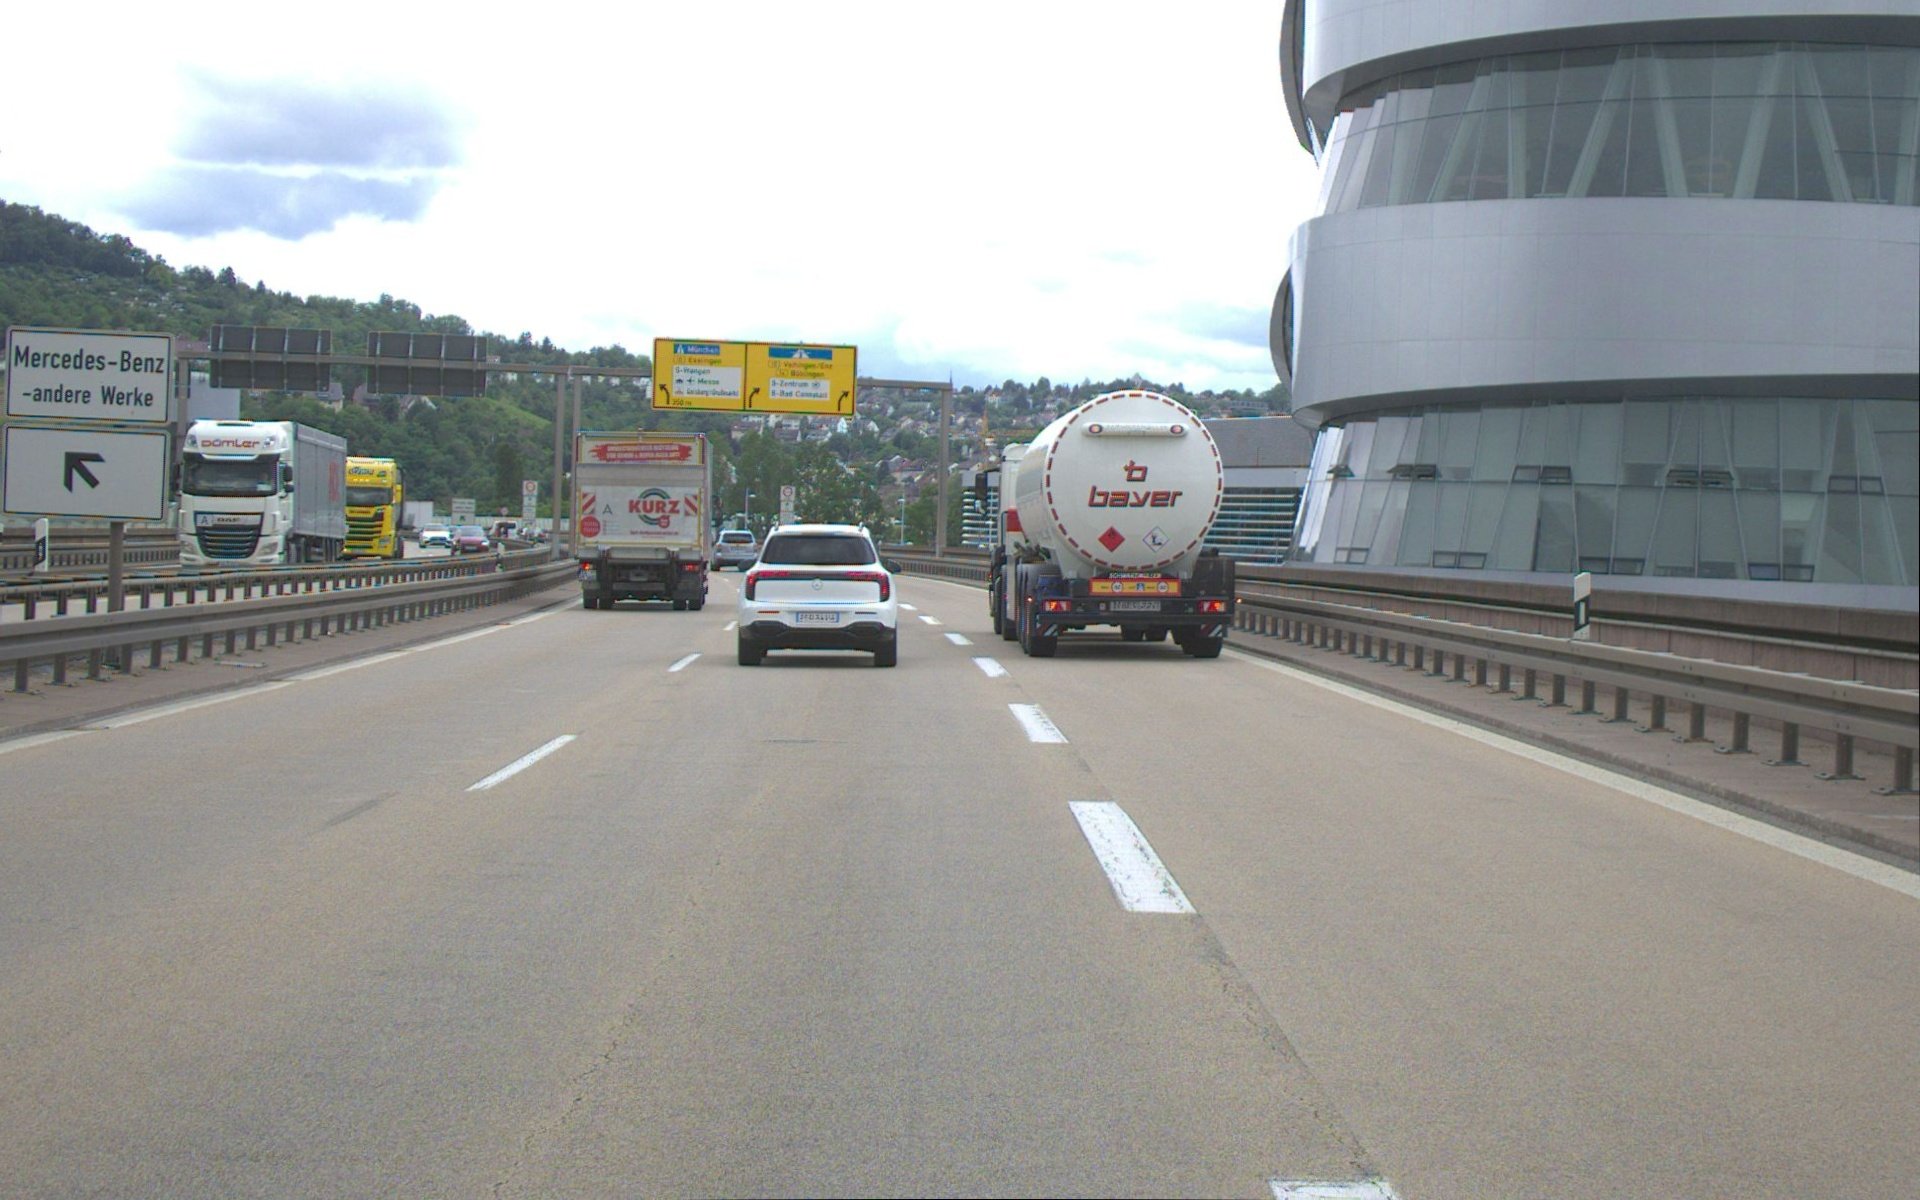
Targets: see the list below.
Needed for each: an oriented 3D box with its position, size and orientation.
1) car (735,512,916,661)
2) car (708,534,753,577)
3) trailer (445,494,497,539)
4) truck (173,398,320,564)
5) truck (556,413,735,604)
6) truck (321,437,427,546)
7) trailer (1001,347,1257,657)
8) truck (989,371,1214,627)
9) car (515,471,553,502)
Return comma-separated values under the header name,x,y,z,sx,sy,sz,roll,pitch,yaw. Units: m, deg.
name,x,y,z,sx,sy,sz,roll,pitch,yaw
car,-1.573,-0.175,41.686,1.993,1.669,4.408,1,1,0
car,-9.290,-1.802,139.540,1.683,1.644,4.360,2,1,-3
trailer,-22.560,-3.843,158.676,1.993,2.007,4.001,1,1,-3
truck,-18.156,-2.969,87.796,2.771,4.065,5.647,1,0,-3
truck,-6.422,-1.842,71.439,3.057,3.678,8.304,1,1,-1
truck,-23.179,-4.230,136.538,3.056,4.051,11.859,1,1,-5
trailer,2.135,-1.253,46.591,3.057,3.777,8.304,1,1,0
truck,2.076,-1.489,52.744,3.014,3.644,6.274,1,1,-1
car,-23.717,-6.308,191.369,1.993,1.601,4.808,1,1,-6
